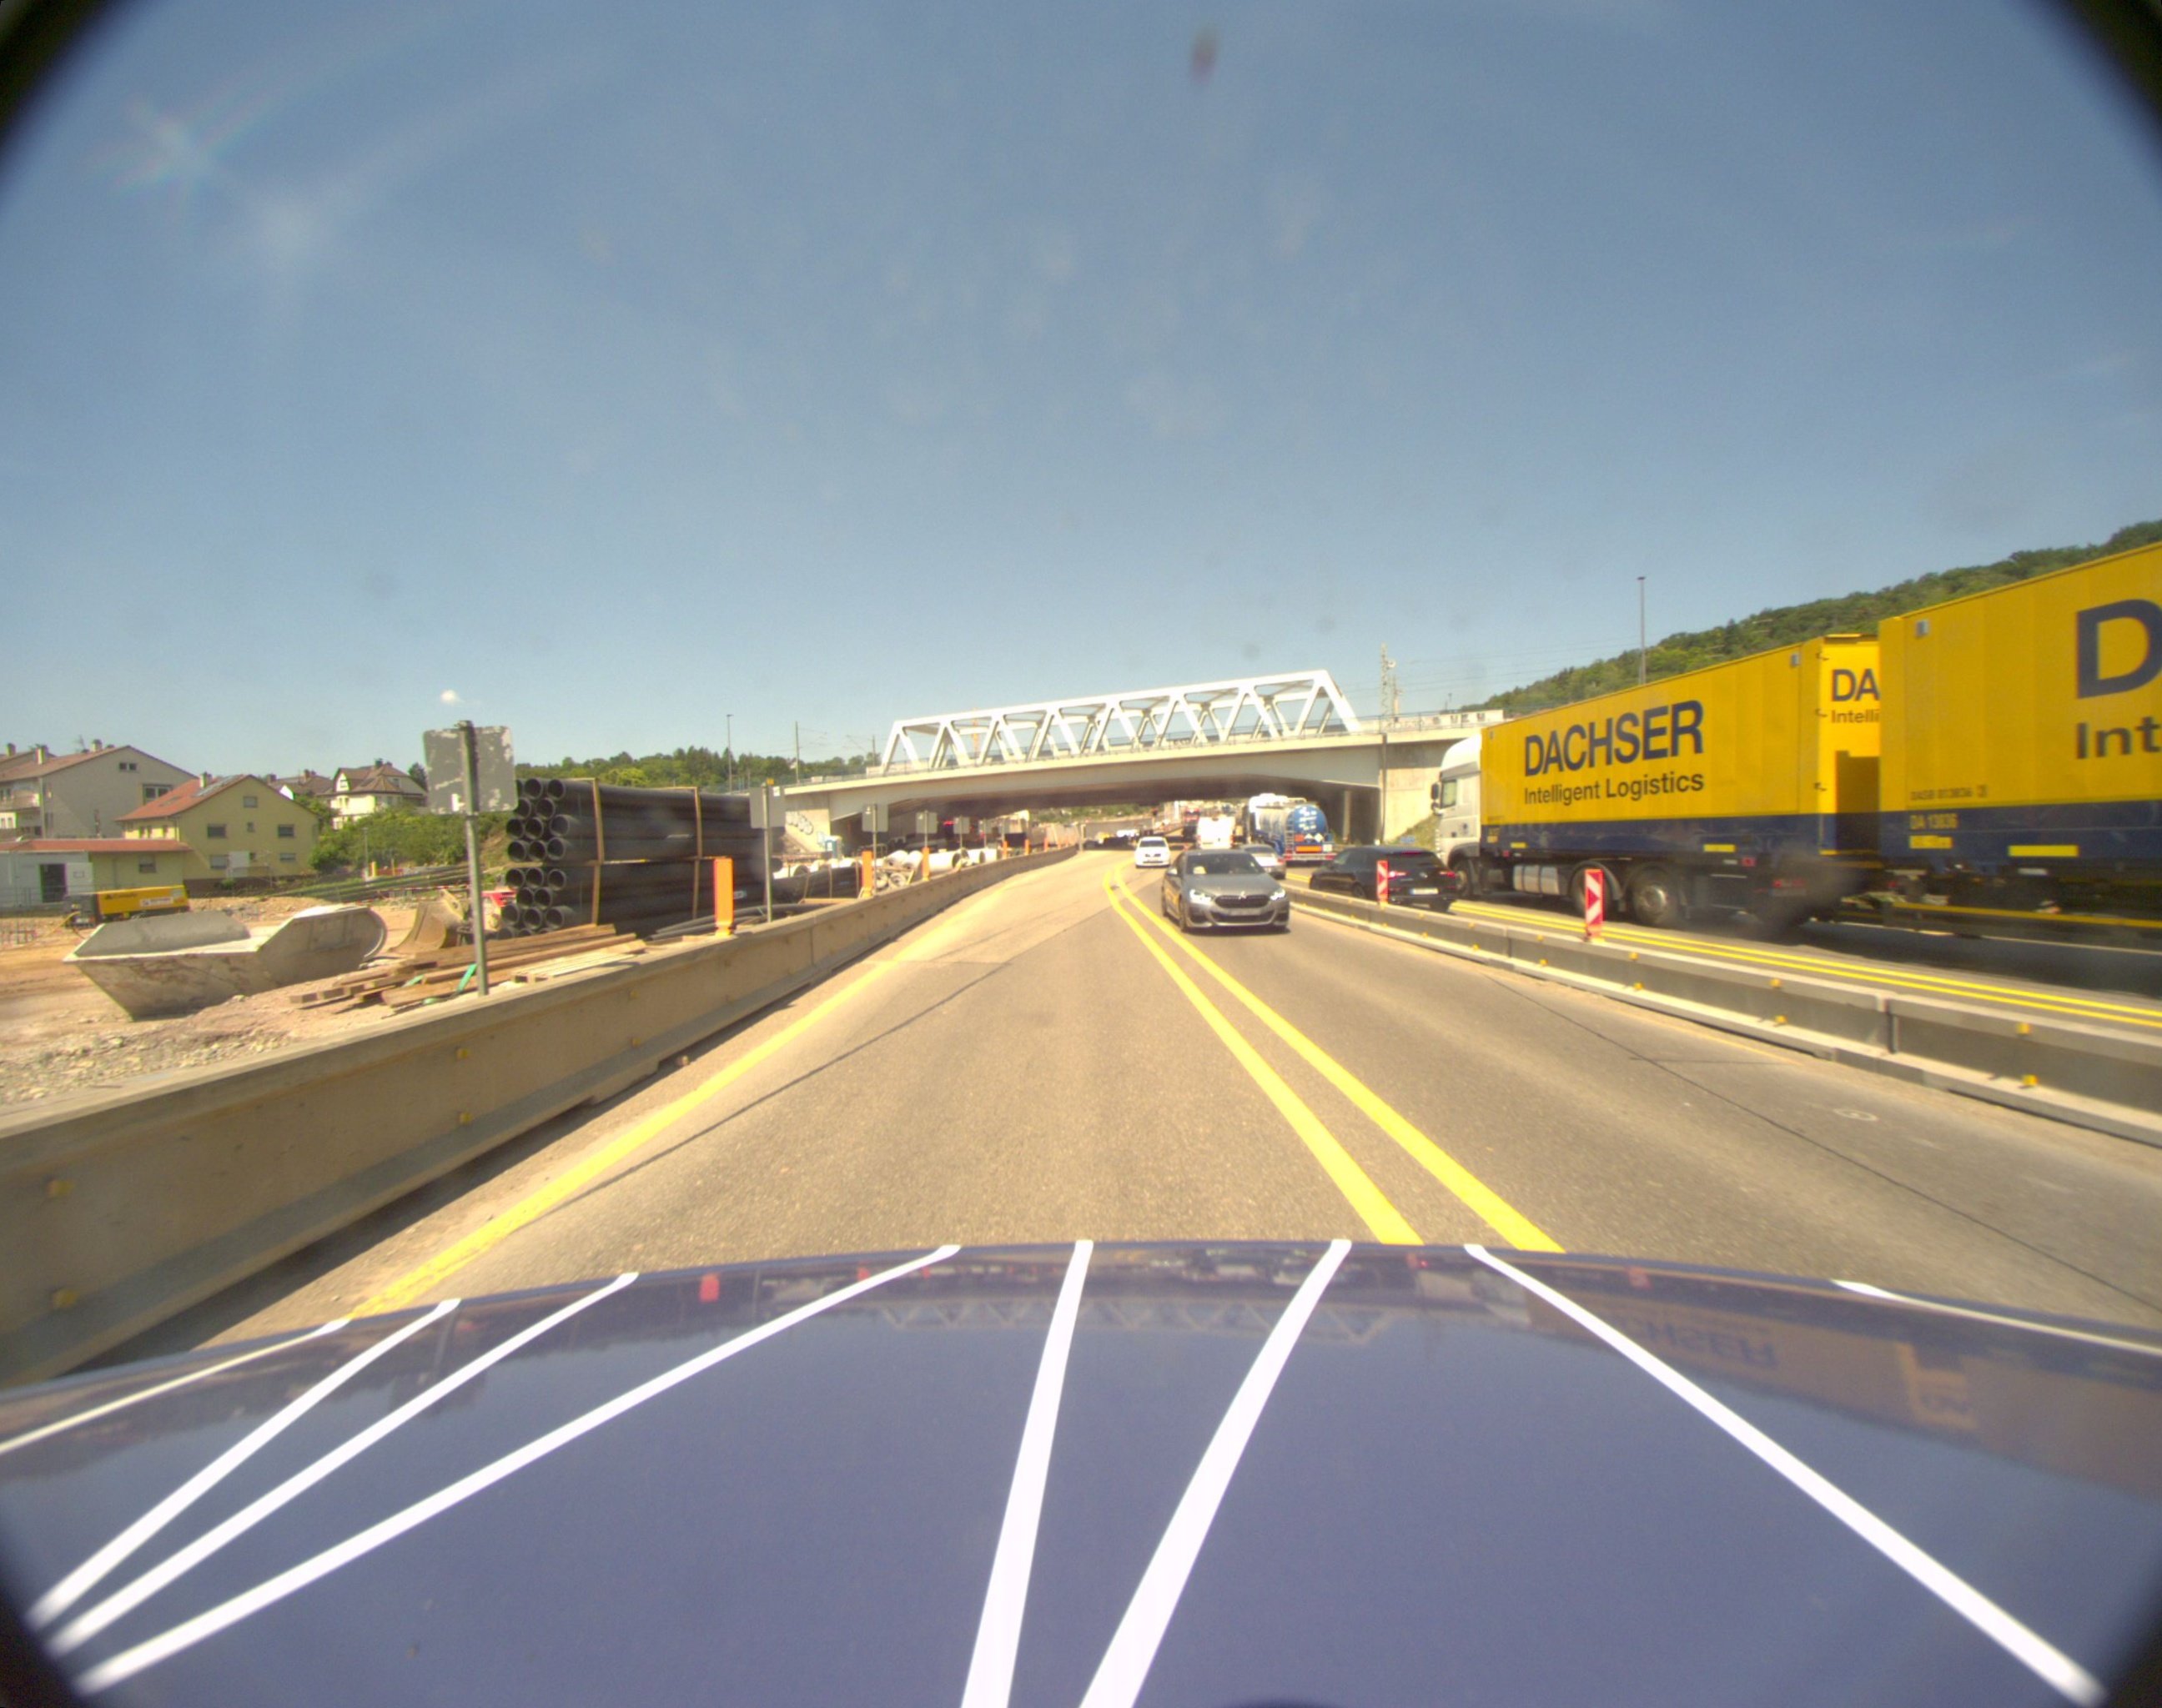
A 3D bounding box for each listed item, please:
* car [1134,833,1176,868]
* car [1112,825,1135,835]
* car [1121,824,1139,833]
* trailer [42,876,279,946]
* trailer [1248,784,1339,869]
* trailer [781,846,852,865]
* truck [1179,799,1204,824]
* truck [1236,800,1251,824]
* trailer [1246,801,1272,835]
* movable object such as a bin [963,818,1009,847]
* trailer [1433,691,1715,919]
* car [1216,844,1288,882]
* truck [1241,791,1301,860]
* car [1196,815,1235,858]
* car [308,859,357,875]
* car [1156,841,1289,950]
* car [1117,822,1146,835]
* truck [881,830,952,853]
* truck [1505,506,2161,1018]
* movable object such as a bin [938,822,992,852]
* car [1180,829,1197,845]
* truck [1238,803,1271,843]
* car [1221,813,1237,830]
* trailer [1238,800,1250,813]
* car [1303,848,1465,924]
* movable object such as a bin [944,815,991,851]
[{"bbox_3d":[3.809,-0.224,38.711,1.837,1.466,4.389,-1,4,9],"label":"car"},{"bbox_3d":[9.361,-5.251,167.004,4.799,1.759,1.720,-3,3,7],"label":"car"},{"bbox_3d":[10.980,-5.674,170.024,3.867,1.677,1.693,-3,4,8],"label":"car"},{"bbox_3d":[-25.477,1.517,21.270,1.626,1.478,3.827,-2,2,9],"label":"trailer"},{"bbox_3d":[10.801,-1.454,39.745,2.531,3.768,10.244,-2,2,5],"label":"trailer"},{"bbox_3d":[-20.579,0.095,59.198,4.720,1.213,2.056,-1,5,13],"label":"trailer"},{"bbox_3d":[19.681,-7.566,135.023,3.460,4.026,10.212,-1,5,13],"label":"truck"},{"bbox_3d":[32.331,-8.531,151.312,2.773,4.291,13.491,-1,5,11],"label":"truck"},{"bbox_3d":[23.776,-4.872,102.037,2.881,4.018,14.363,-2,3,12],"label":"trailer"},{"bbox_3d":[-11.646,-2.678,93.238,4.559,3.270,2.992,-2,4,17],"label":"movable object such as a bin"},{"bbox_3d":[10.453,-0.981,16.860,2.873,4.206,5.217,-1,2,0],"label":"trailer"},{"bbox_3d":[6.415,0.290,28.916,1.681,1.257,4.334,-2,1,-1],"label":"car"},{"bbox_3d":[11.292,-1.737,45.587,2.539,3.801,4.949,-2,3,4],"label":"truck"},{"bbox_3d":[8.387,-1.190,47.977,2.075,2.490,6.484,-1,3,7],"label":"car"},{"bbox_3d":[-76.428,1.344,77.612,4.159,1.500,1.579,-1,5,16],"label":"car"},{"bbox_3d":[2.496,0.638,14.427,1.838,1.588,4.388,-1,3,2],"label":"car"},{"bbox_3d":[11.502,-5.795,173.356,6.303,2.567,2.054,-5,2,0],"label":"car"},{"bbox_3d":[-16.766,-1.266,77.637,6.530,2.062,2.667,-2,3,16],"label":"truck"},{"bbox_3d":[10.511,-0.852,8.486,2.814,4.318,15.369,-2,1,0],"label":"truck"},{"bbox_3d":[-13.099,-1.988,86.150,5.246,3.041,2.497,-2,4,17],"label":"movable object such as a bin"},{"bbox_3d":[11.809,-1.887,83.628,1.800,1.543,4.000,-1,2,7],"label":"car"},{"bbox_3d":[16.577,-3.020,73.072,2.822,3.556,8.501,-1,3,11],"label":"truck"},{"bbox_3d":[21.268,-4.672,109.103,1.983,2.318,6.060,-1,3,13],"label":"car"},{"bbox_3d":[49.929,-14.571,232.680,2.659,3.796,11.827,0,5,17],"label":"trailer"},{"bbox_3d":[6.428,0.588,16.708,1.681,1.354,4.501,-2,1,-1],"label":"car"},{"bbox_3d":[-12.200,-2.242,81.721,3.884,3.524,2.905,-1,5,24],"label":"movable object such as a bin"}]
